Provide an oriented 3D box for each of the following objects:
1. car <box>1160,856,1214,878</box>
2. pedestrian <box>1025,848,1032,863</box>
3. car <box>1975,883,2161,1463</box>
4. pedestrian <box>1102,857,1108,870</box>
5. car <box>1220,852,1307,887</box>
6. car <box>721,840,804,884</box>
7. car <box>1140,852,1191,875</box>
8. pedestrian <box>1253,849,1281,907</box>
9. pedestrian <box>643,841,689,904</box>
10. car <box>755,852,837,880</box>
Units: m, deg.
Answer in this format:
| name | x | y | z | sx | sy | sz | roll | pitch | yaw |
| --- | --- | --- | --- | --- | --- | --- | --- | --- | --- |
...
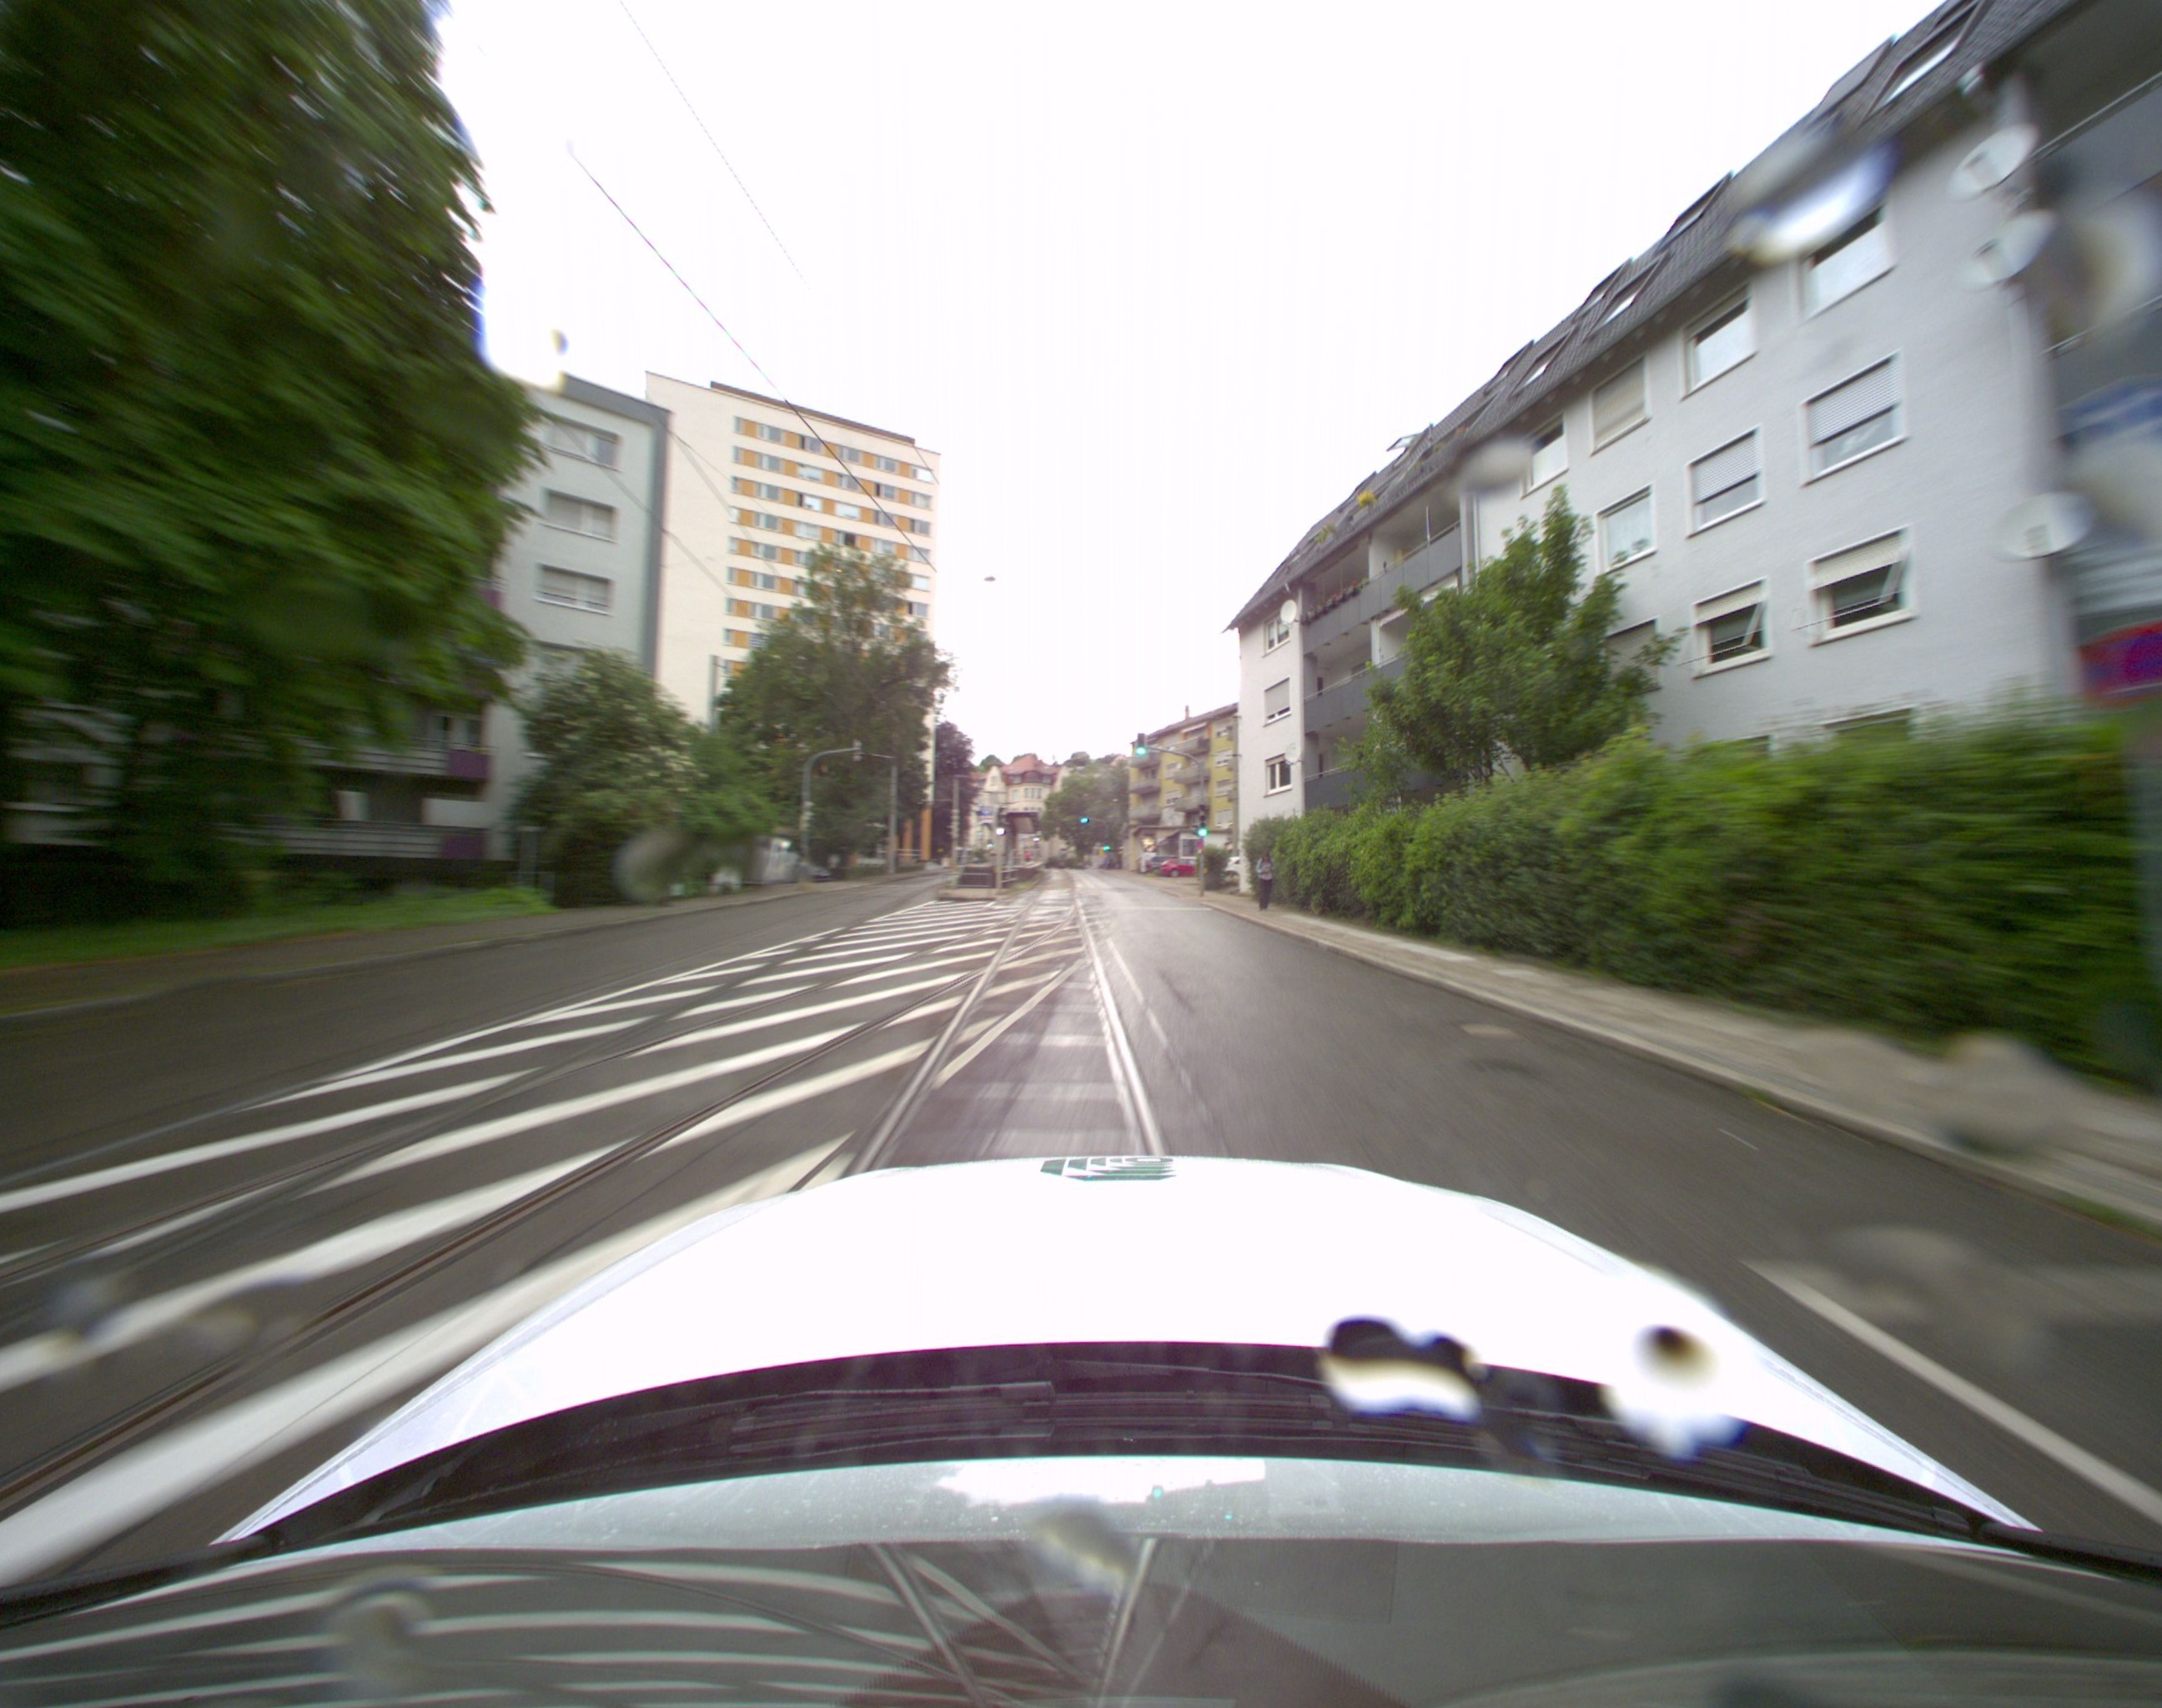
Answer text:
| name | x | y | z | sx | sy | sz | roll | pitch | yaw |
| --- | --- | --- | --- | --- | --- | --- | --- | --- | --- |
| car | 8.164 | 1.001 | 62.767 | 3.833 | 1.543 | 1.805 | 2 | -3 | -4 |
| pedestrian | -5.318 | 0.190 | 82.716 | 0.655 | 1.467 | 0.772 | 1 | -5 | 1 |
| car | 3.611 | 0.807 | 0.560 | 1.700 | 1.426 | 3.858 | 2 | -1 | -2 |
| pedestrian | 2.772 | 1.075 | 92.875 | 0.578 | 1.467 | 0.542 | 2 | -5 | -10 |
| car | 9.189 | 0.815 | 41.141 | 3.978 | 1.646 | 1.805 | 2 | -3 | -4 |
| car | -14.218 | 0.421 | 36.632 | 1.986 | 1.684 | 3.999 | 1 | -4 | 1 |
| car | 6.872 | 0.789 | 66.440 | 3.977 | 1.646 | 1.805 | 1 | -3 | -3 |
| pedestrian | 5.349 | 0.696 | 23.461 | 0.642 | 1.629 | 0.699 | 1 | -2 | 0 |
| pedestrian | -11.454 | 0.528 | 22.500 | 0.735 | 1.678 | 0.919 | -3 | -5 | 4 |
| car | -15.553 | 0.689 | 44.481 | 3.953 | 1.406 | 1.691 | 0 | -5 | 21 |
